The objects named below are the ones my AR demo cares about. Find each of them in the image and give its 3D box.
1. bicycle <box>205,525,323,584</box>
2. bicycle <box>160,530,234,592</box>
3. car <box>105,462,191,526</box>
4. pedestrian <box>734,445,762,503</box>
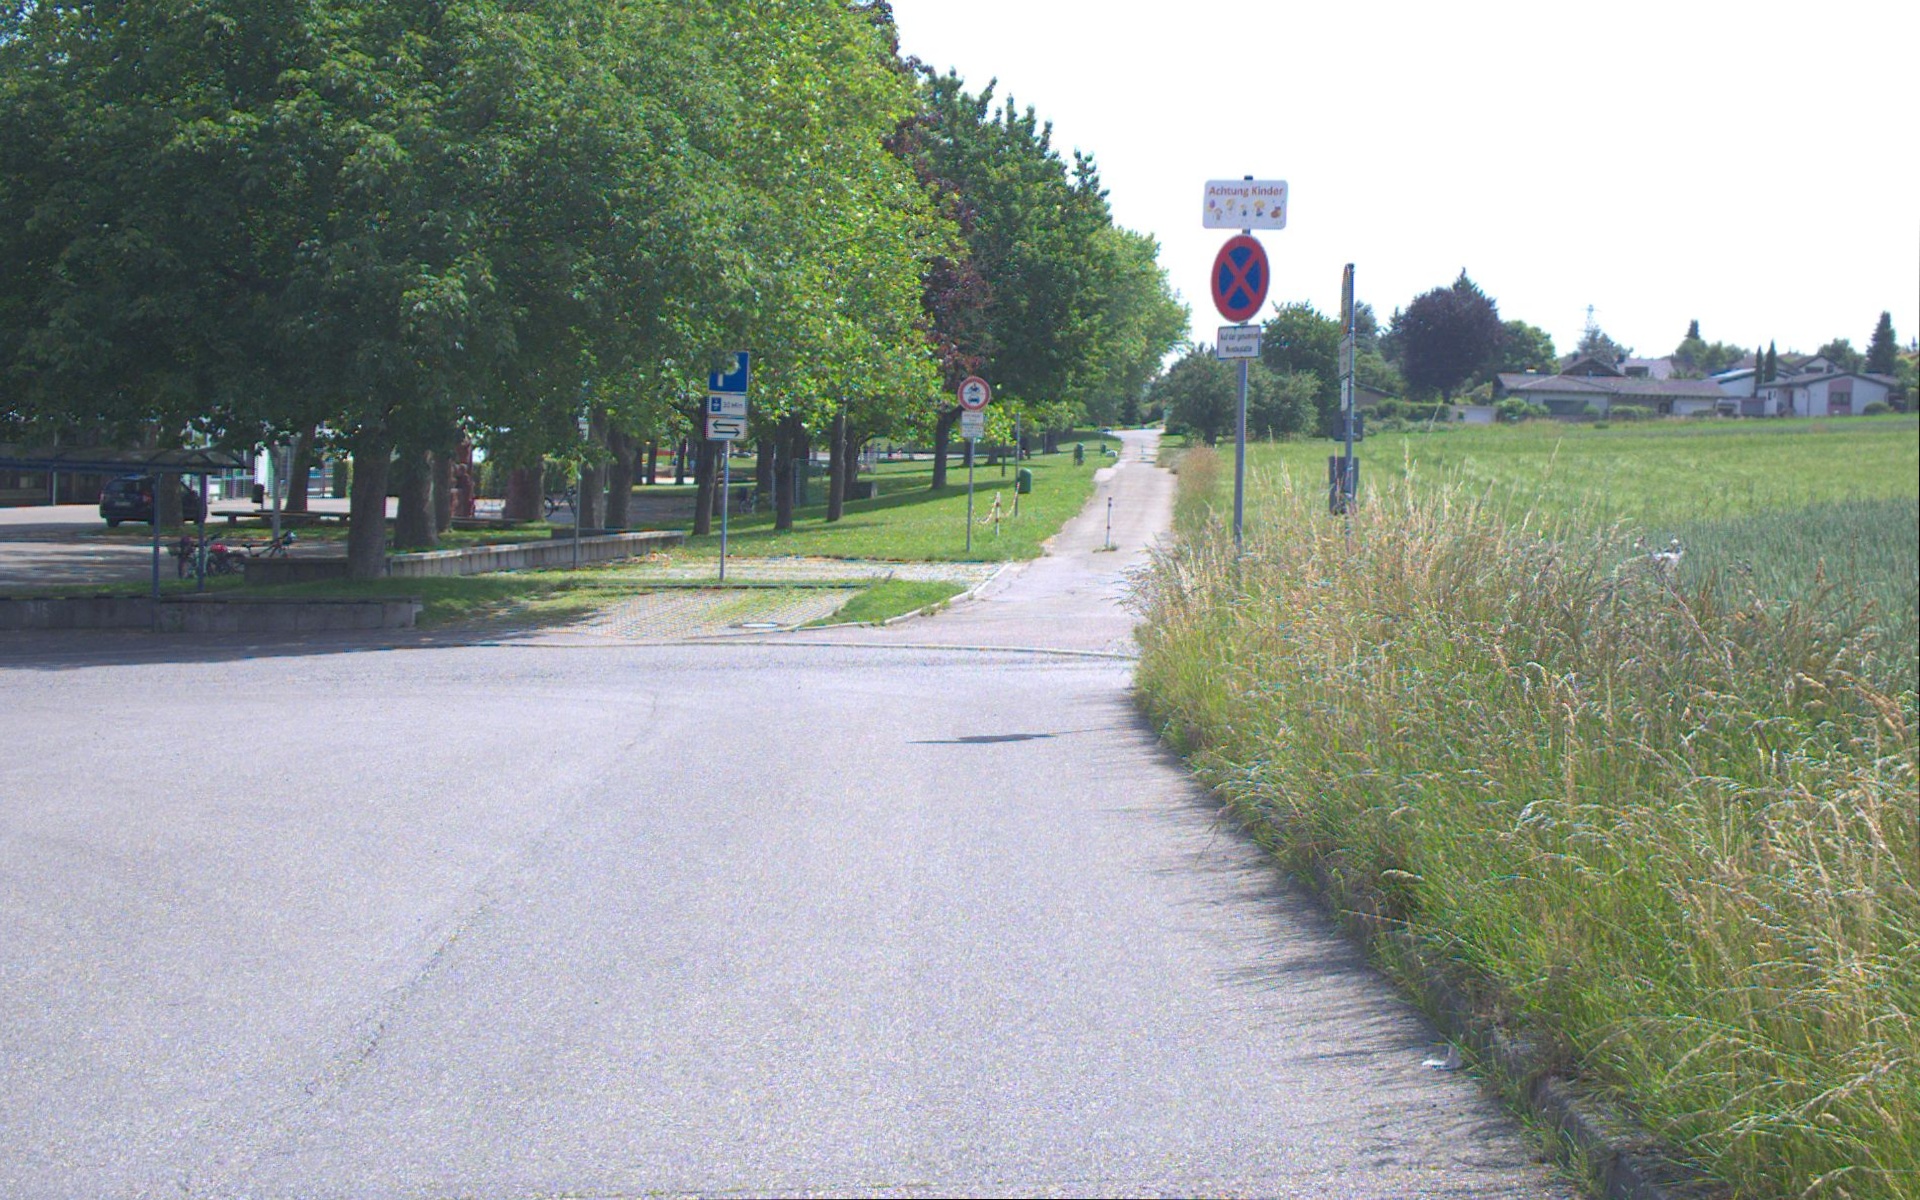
[{"bbox_3d":[-12.836,-0.841,63.419,2.062,1.035,0.572,-1,2,-5],"label":"bicycle"},{"bbox_3d":[-13.619,-0.706,61.426,0.595,1.035,1.892,0,2,10],"label":"bicycle"},{"bbox_3d":[-23.759,-3.119,100.698,1.691,1.828,3.411,0,2,1],"label":"car"},{"bbox_3d":[-7.395,-4.388,120.030,0.682,2.006,0.803,0,2,-30],"label":"pedestrian"}]
